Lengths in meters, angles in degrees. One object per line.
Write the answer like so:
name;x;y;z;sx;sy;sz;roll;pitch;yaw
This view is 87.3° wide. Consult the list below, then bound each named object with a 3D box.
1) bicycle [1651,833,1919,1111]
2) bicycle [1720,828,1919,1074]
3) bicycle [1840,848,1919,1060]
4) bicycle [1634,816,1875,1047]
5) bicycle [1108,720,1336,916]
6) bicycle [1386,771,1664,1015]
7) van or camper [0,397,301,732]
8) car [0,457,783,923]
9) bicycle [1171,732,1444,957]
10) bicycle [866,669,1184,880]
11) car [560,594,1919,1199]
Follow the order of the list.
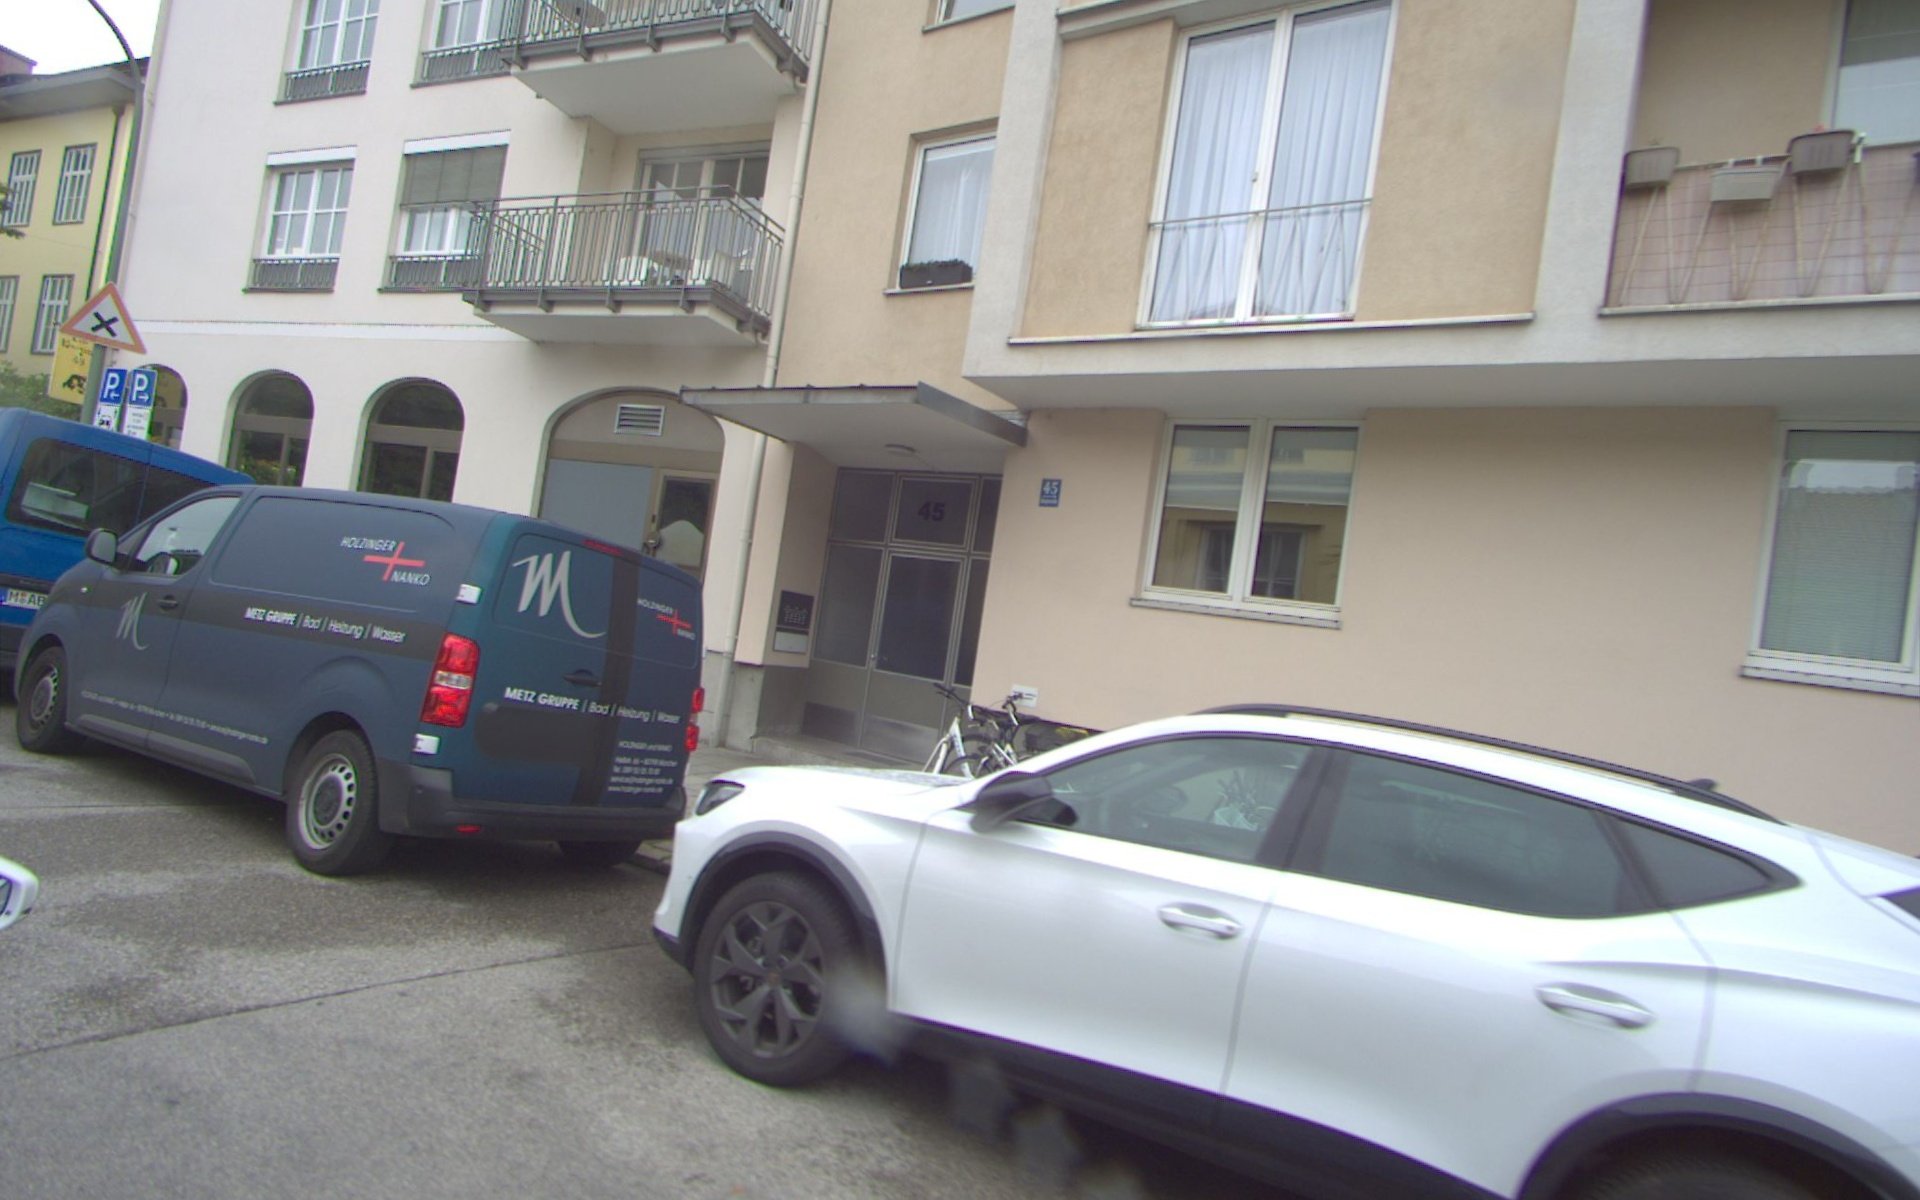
bicycle;4.382;1.875;5.142;1.280;1.036;0.423;7;0;33
bicycle;4.959;1.896;5.311;1.378;1.036;0.390;7;0;33
bicycle;5.671;2.014;5.324;1.378;1.036;0.390;7;0;33
bicycle;4.673;1.920;5.979;0.985;1.036;0.374;7;0;33
bicycle;1.891;1.575;7.364;1.384;1.146;0.534;8;0;-3
bicycle;3.615;1.832;6.528;1.385;1.146;0.534;8;0;29
van or camper;-8.843;-0.436;9.170;5.343;2.251;2.071;7;-6;27
car;-3.766;0.361;6.355;4.851;1.834;1.973;7;-5;29
bicycle;2.240;1.569;6.606;1.404;1.146;0.719;8;-2;-3
bicycle;0.518;1.343;8.191;2.170;1.199;1.149;7;-2;31
car;0.876;1.123;3.570;4.199;1.552;1.748;7;-6;28
